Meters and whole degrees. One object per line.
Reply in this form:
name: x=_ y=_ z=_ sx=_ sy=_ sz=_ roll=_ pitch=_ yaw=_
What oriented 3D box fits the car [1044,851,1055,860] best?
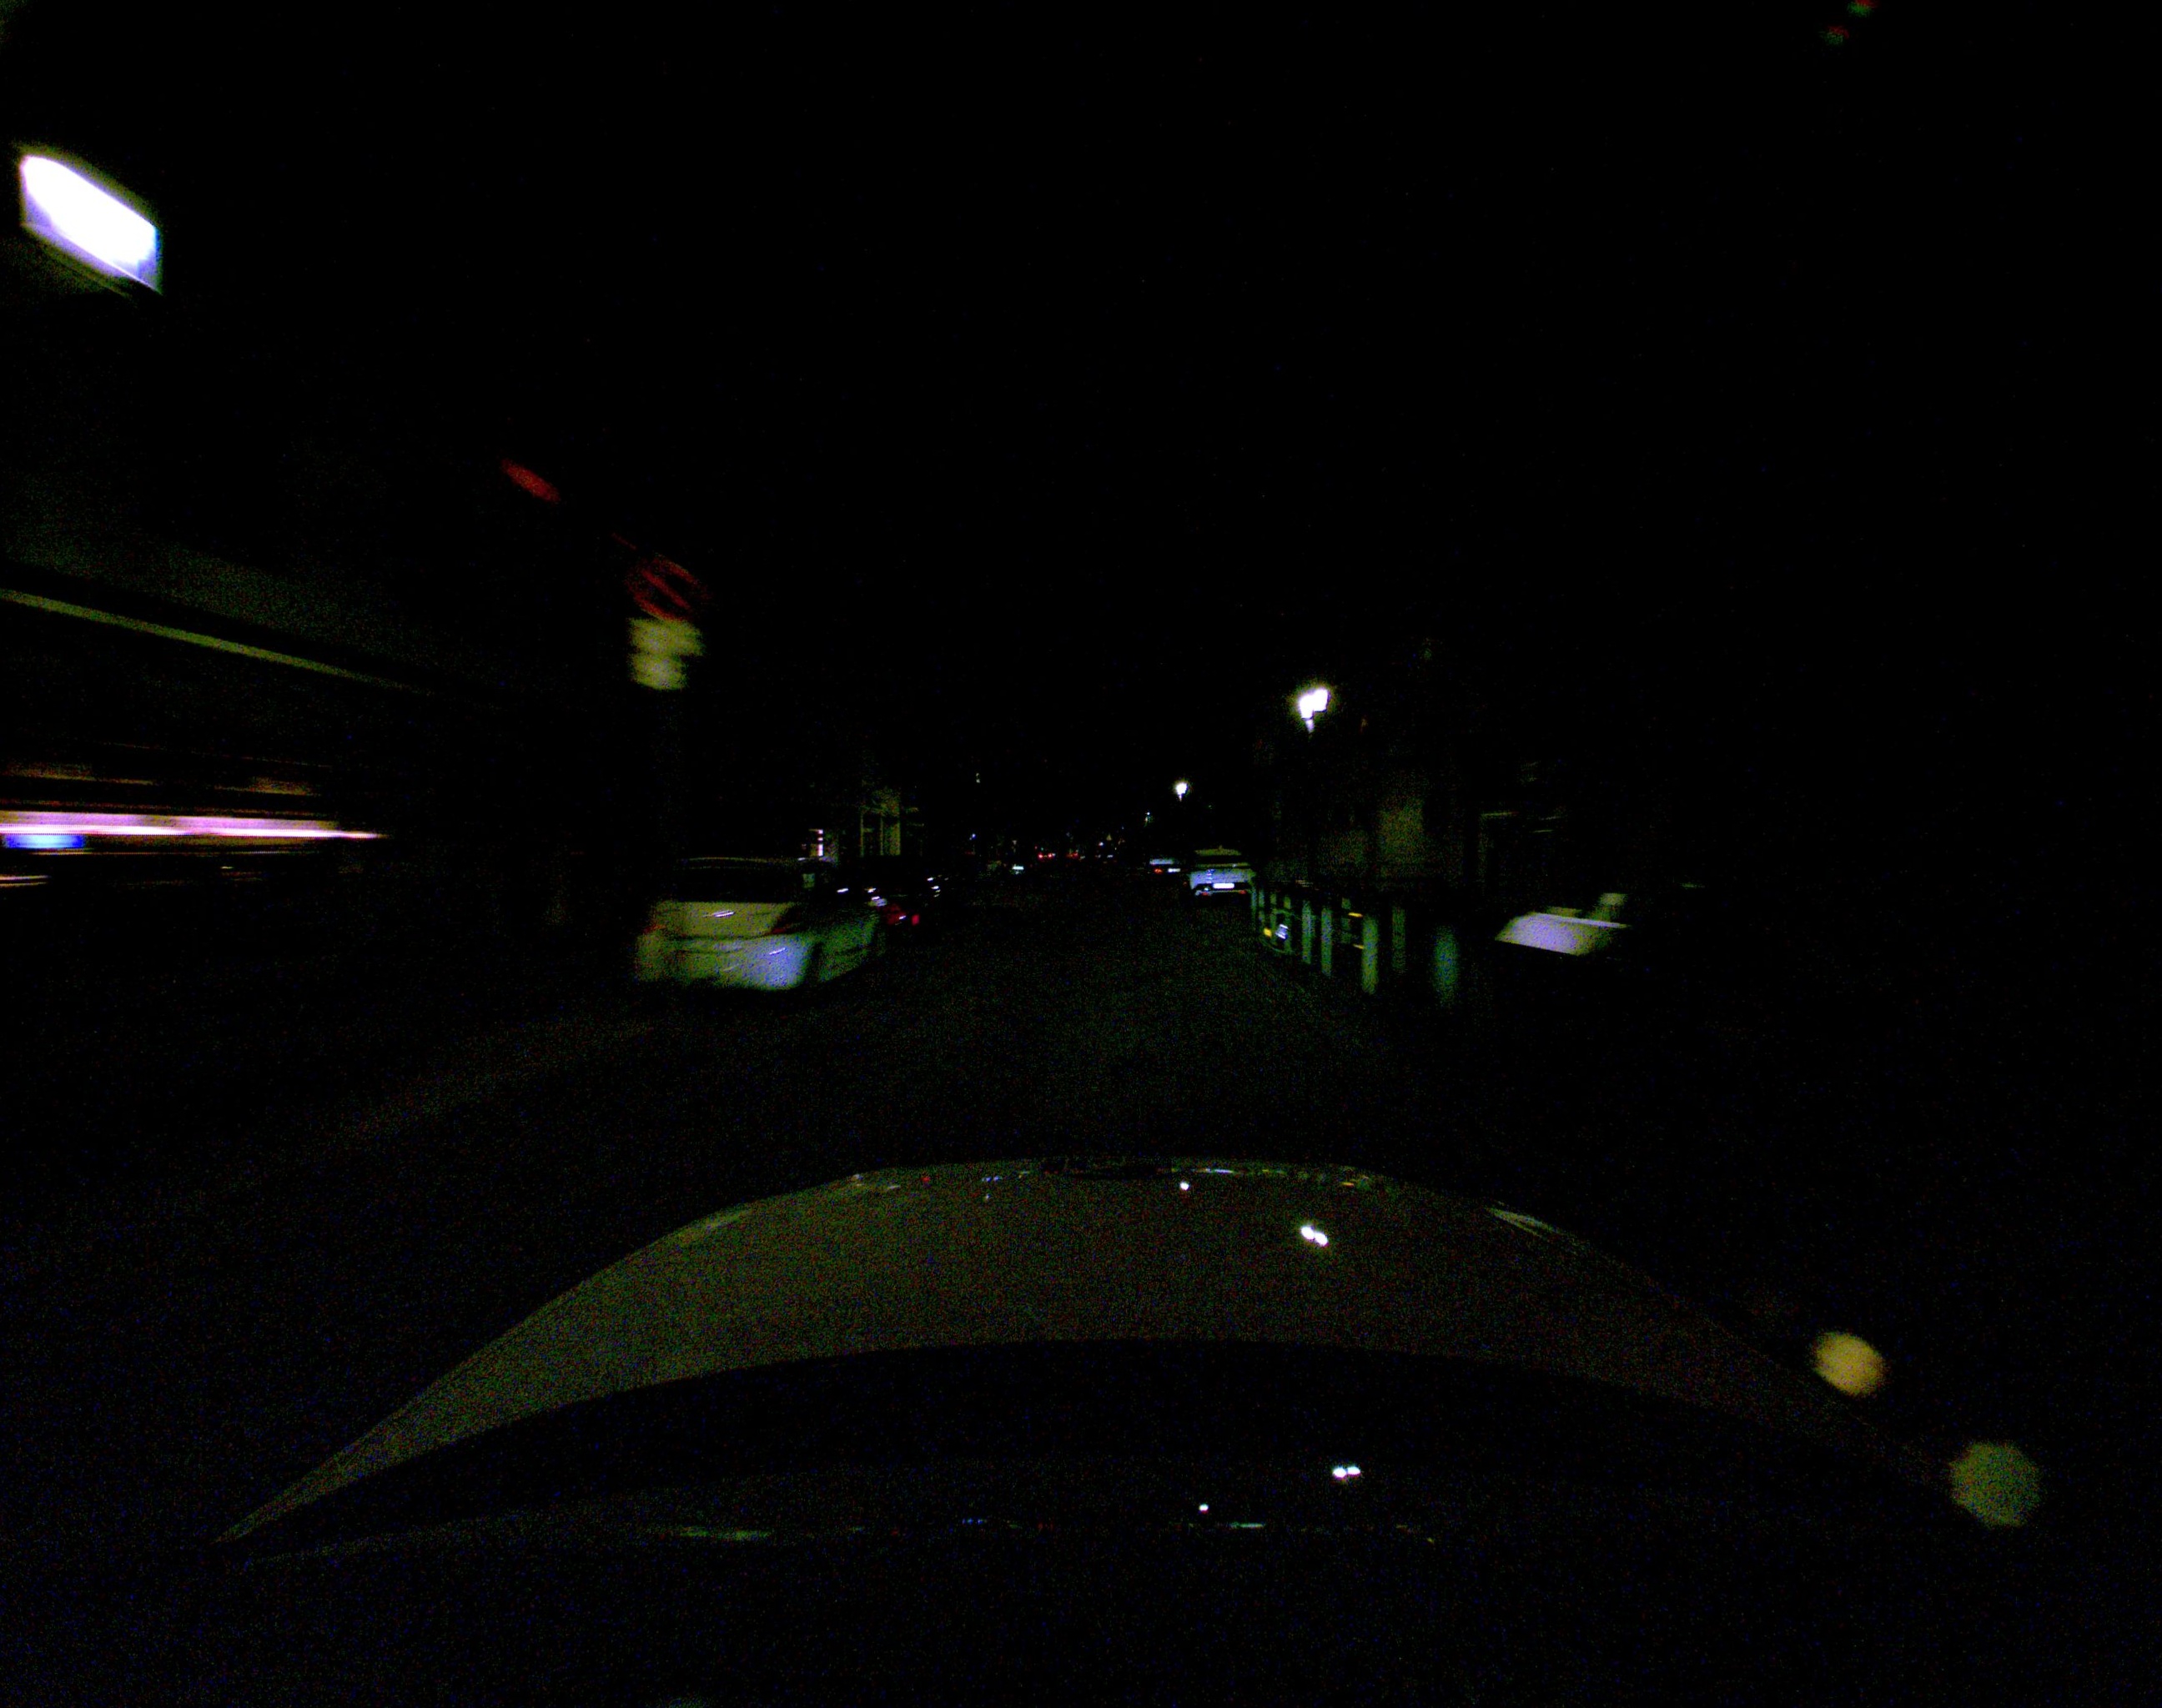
car: x=-5.739 y=0.292 z=146.408 sx=1.836 sy=1.542 sz=3.840 roll=-1 pitch=0 yaw=-4

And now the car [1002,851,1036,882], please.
car: x=-3.294 y=0.623 z=43.124 sx=1.670 sy=1.543 sz=4.223 roll=0 pitch=0 yaw=-5

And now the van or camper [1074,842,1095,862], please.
van or camper: x=0.346 y=-0.248 z=100.107 sx=2.106 sy=2.317 sz=4.254 roll=-2 pitch=0 yaw=-6

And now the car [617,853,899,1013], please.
car: x=-3.445 y=0.736 z=9.533 sx=1.723 sy=1.477 sz=3.847 roll=1 pitch=0 yaw=0

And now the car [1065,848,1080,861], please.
car: x=-1.258 y=0.075 z=118.768 sx=1.836 sy=1.901 sz=3.840 roll=-1 pitch=0 yaw=-4

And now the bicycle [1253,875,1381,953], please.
bicycle: x=3.384 y=0.848 z=11.713 sx=1.749 sy=1.062 sz=0.346 roll=-1 pitch=0 yaw=-2

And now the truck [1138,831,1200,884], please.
truck: x=4.078 y=0.127 z=38.674 sx=2.328 sy=2.312 sz=5.781 roll=-1 pitch=0 yaw=1

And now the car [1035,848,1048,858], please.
car: x=-6.522 y=-0.167 z=134.538 sx=1.989 sy=1.702 sz=3.995 roll=0 pitch=0 yaw=-4

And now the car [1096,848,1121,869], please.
car: x=2.463 y=0.352 z=74.103 sx=1.812 sy=1.828 sz=4.340 roll=-1 pitch=0 yaw=-5

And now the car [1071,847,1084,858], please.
car: x=-0.520 y=-0.239 z=112.806 sx=1.528 sy=1.418 sz=3.840 roll=-1 pitch=0 yaw=-4

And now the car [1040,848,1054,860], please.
car: x=-5.120 y=-0.009 z=120.791 sx=1.989 sy=1.823 sz=3.995 roll=0 pitch=0 yaw=-4

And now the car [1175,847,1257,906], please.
car: x=3.746 y=0.578 z=23.252 sx=1.782 sy=1.491 sz=4.061 roll=-2 pitch=0 yaw=2

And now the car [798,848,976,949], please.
car: x=-3.339 y=0.682 z=15.197 sx=2.012 sy=1.488 sz=5.008 roll=2 pitch=0 yaw=1
